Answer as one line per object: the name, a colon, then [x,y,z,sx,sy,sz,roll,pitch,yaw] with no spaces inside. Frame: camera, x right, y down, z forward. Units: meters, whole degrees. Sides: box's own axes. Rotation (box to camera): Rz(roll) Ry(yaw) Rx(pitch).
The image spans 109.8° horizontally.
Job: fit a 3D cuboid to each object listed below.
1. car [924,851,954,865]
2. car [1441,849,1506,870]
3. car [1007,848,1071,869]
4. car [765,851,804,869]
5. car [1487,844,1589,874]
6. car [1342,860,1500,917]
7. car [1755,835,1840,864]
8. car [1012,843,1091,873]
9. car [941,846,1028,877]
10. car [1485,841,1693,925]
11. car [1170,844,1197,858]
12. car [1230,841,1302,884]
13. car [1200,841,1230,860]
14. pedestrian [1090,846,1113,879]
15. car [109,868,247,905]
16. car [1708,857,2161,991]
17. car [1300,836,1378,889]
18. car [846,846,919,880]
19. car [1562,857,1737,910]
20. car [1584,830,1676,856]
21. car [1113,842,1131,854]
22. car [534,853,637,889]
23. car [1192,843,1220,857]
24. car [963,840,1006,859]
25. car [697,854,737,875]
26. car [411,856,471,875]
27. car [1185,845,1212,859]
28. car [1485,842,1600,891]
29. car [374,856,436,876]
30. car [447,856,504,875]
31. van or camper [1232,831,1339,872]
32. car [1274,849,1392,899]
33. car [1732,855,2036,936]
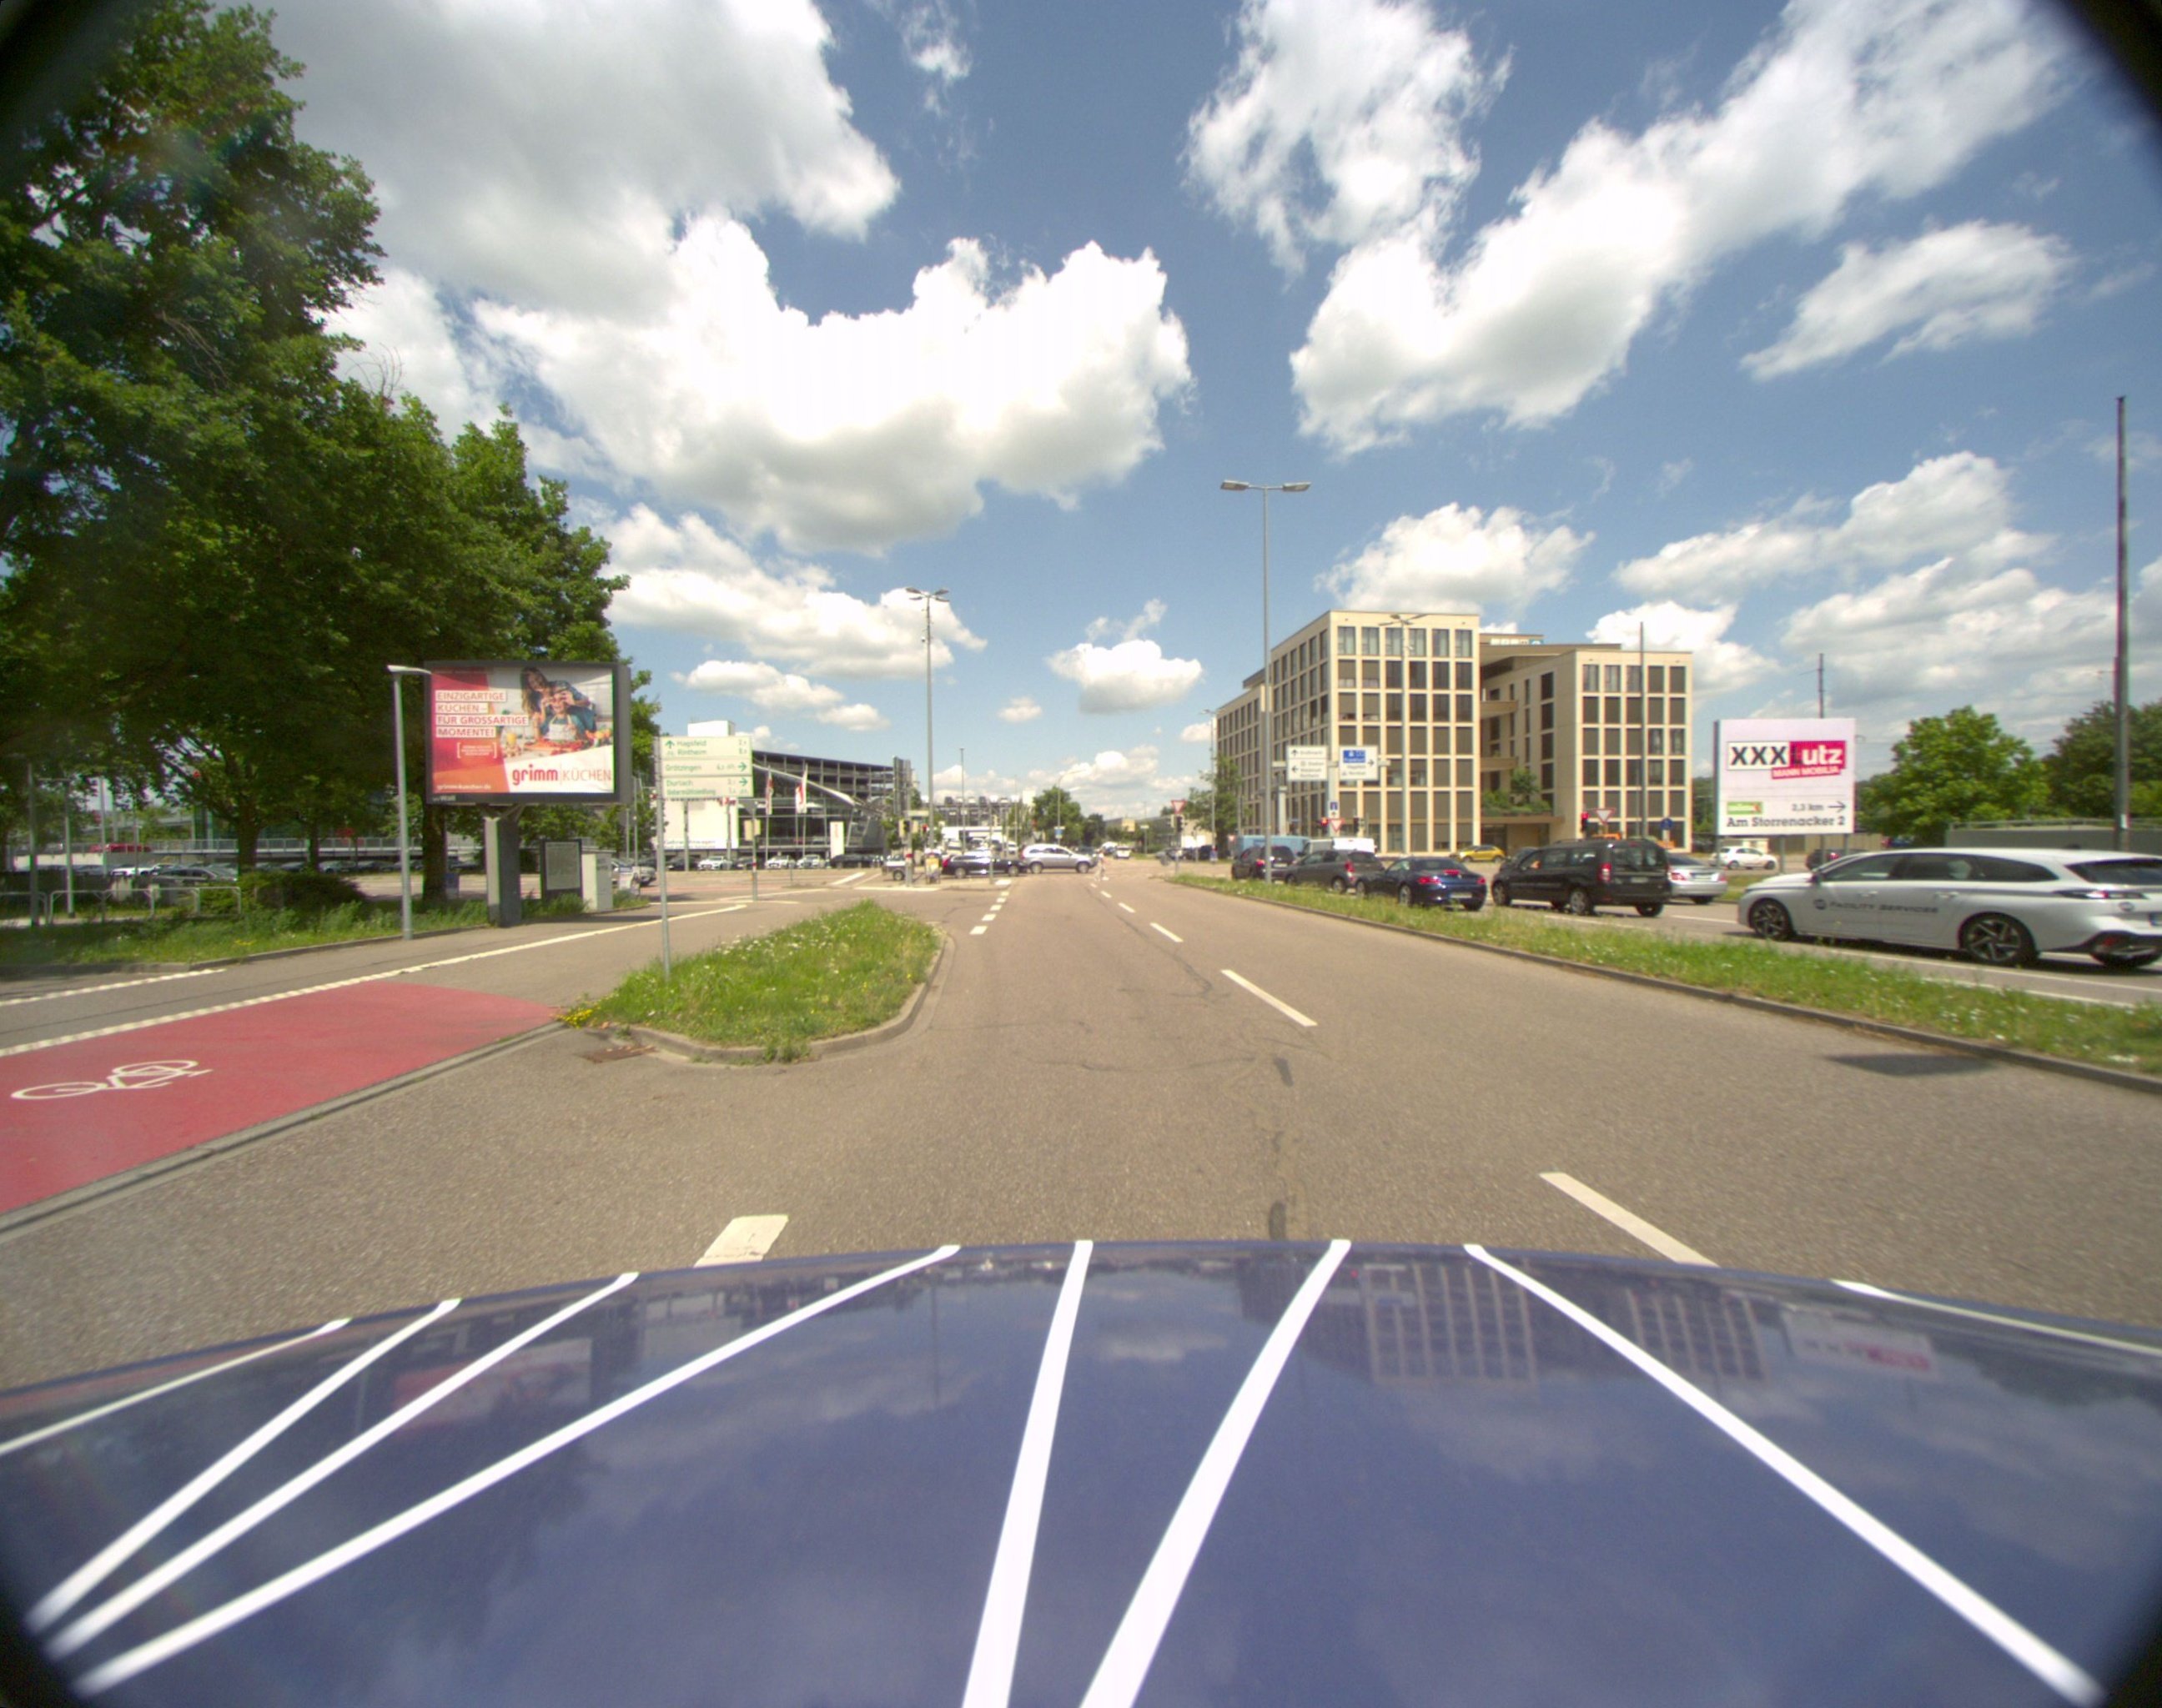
car: [-18.656,0.509,100.142,1.995,1.772,4.007,0,0,25]
car: [31.284,0.435,60.604,4.311,1.622,1.998,0,0,-8]
car: [-3.337,0.361,60.446,4.691,1.622,2.003,0,0,17]
car: [-26.083,0.515,66.984,1.841,1.565,4.000,0,0,2]
car: [27.317,0.297,45.510,5.025,1.718,1.862,0,1,-4]
car: [8.243,0.775,18.889,1.797,1.243,4.306,0,0,-4]
car: [46.877,-0.313,49.790,3.757,1.719,1.862,-1,3,0]
car: [-1.878,0.236,47.442,4.755,1.718,1.862,-1,1,-7]
car: [-5.502,0.396,43.507,4.821,1.571,1.998,-2,2,-7]
car: [11.433,0.601,17.509,1.797,1.691,4.226,0,0,-4]
car: [13.160,-0.424,97.286,1.858,1.718,4.190,1,1,32]
car: [7.461,0.336,31.014,1.796,1.635,4.170,0,0,-2]
car: [15.537,-0.435,87.800,2.137,2.080,4.031,1,1,31]
pedestrian: [1.026,0.423,38.039,0.840,1.642,0.970,-1,1,-19]
car: [-44.192,1.554,37.293,4.002,1.681,1.856,0,0,-14]
car: [11.563,0.752,10.380,1.797,1.393,4.844,1,0,-4]
car: [10.439,0.342,31.037,1.862,2.031,3.575,0,0,-2]
car: [-11.109,0.494,42.754,3.759,1.719,1.671,-1,3,-7]
car: [16.438,0.787,22.334,1.623,1.383,4.582,0,0,-2]
car: [52.047,-1.026,72.146,6.528,2.314,2.855,0,-2,3]
car: [5.924,-0.921,110.151,2.290,1.708,4.481,0,1,-2]
car: [-26.619,0.885,40.970,4.191,1.718,1.861,-1,3,-7]
car: [15.080,-0.501,91.654,1.858,1.718,4.190,1,1,32]
car: [-9.352,-0.403,73.813,3.999,1.772,1.999,0,0,-7]
car: [-31.558,0.873,66.014,1.863,1.718,3.757,-1,1,-5]
car: [-53.804,0.965,63.949,1.797,1.543,3.998,0,0,-4]
car: [14.709,-0.311,95.279,1.858,1.718,4.190,1,1,32]
car: [17.113,0.450,28.401,1.797,1.691,3.869,0,0,-4]
car: [-56.650,0.975,63.787,1.797,1.543,3.998,0,0,-4]
car: [-51.080,0.955,64.230,1.797,1.543,3.998,0,0,-4]
van or camper: [12.136,-0.141,45.189,5.850,2.367,1.999,0,0,-7]
car: [8.464,0.646,25.839,1.799,1.551,3.763,0,0,-23]
car: [16.431,0.770,15.945,1.624,1.464,4.357,0,0,-4]
